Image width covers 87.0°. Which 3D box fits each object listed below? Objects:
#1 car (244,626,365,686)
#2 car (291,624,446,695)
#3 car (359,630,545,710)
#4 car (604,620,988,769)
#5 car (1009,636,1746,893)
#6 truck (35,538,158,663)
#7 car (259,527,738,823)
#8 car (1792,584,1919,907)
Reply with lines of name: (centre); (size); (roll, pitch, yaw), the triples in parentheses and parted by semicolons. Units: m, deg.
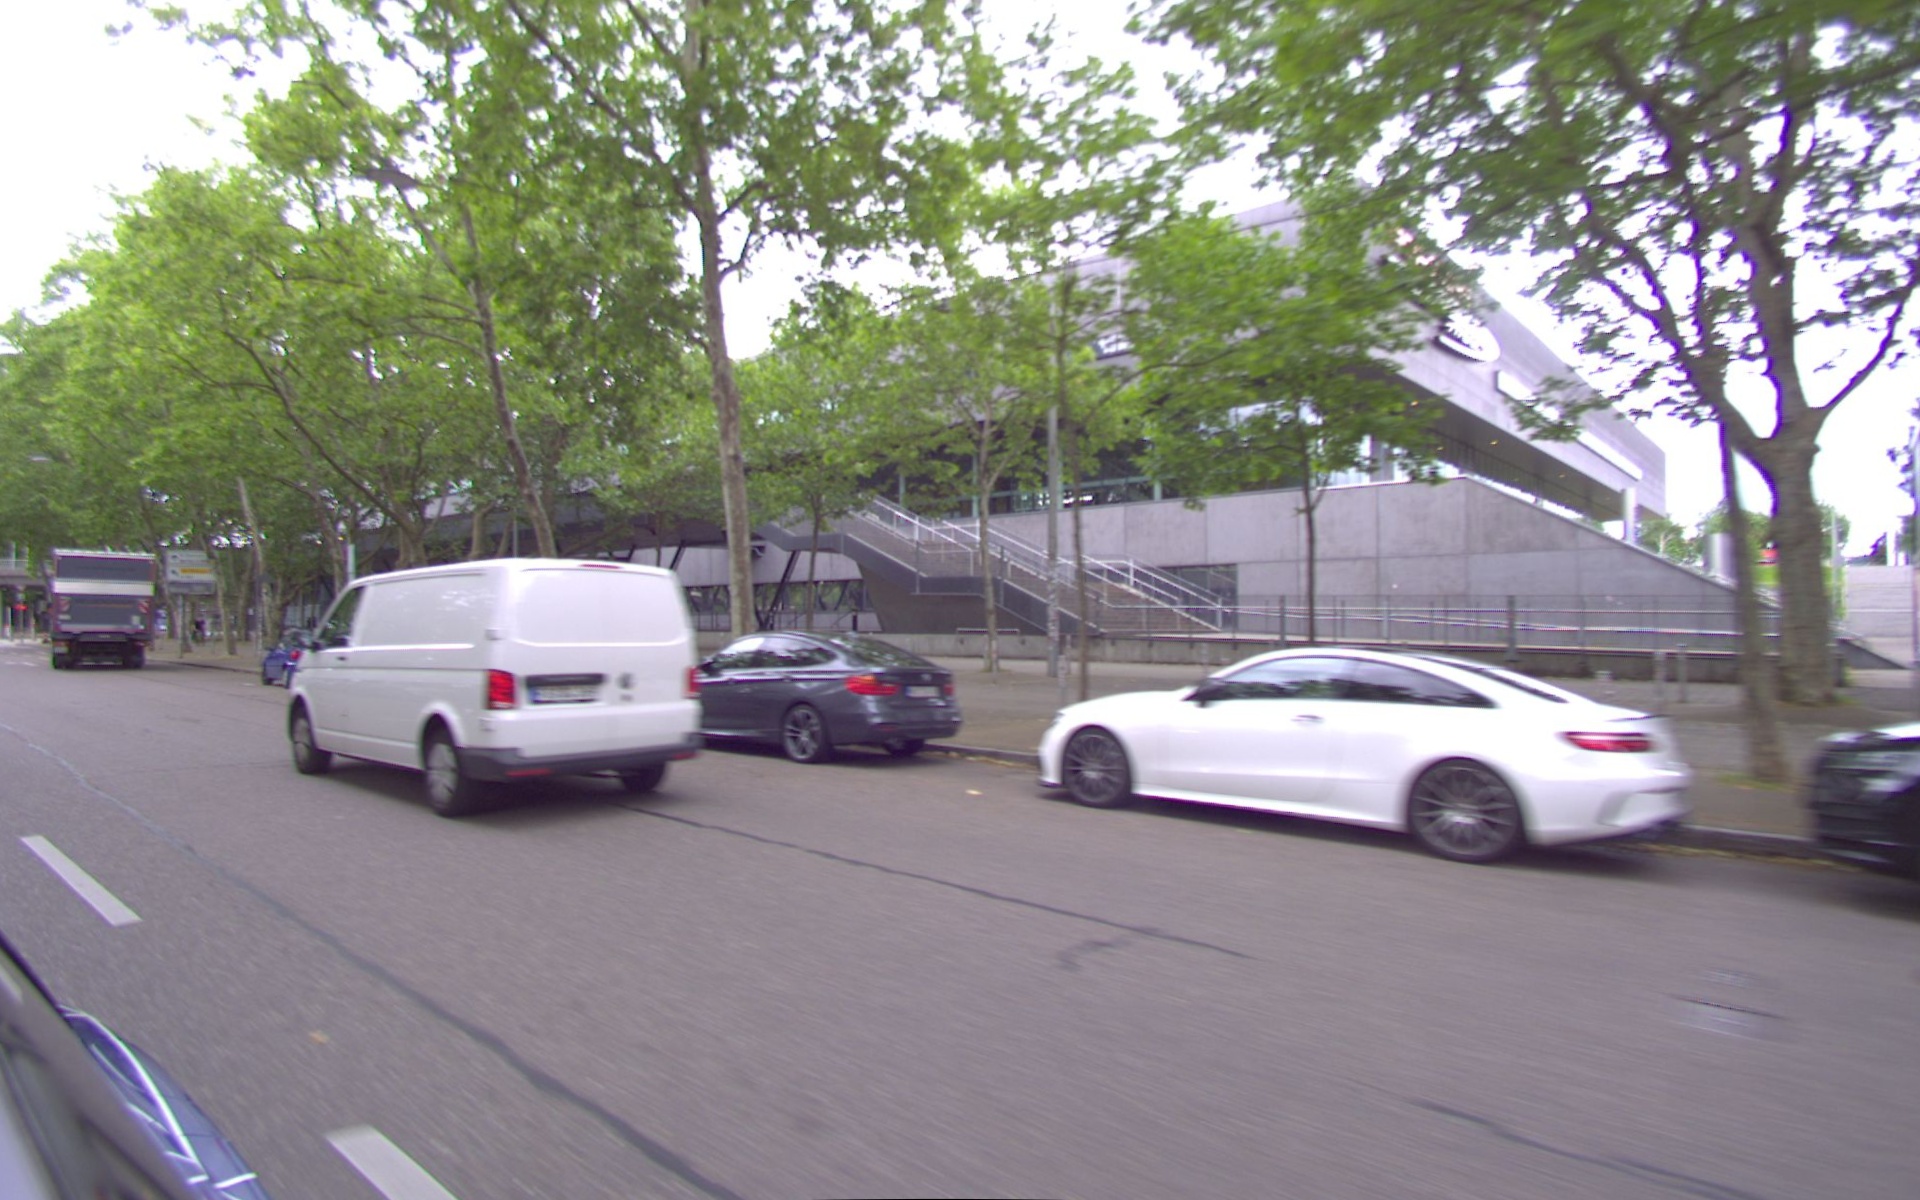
car: (-17.023, 1.431, 26.216); (4.001, 1.372, 1.675); (-2, -6, 44)
car: (-13.509, 1.335, 23.056); (3.644, 1.489, 1.679); (-1, -5, 36)
car: (-9.965, 1.326, 19.713); (4.329, 1.392, 1.689); (-1, -5, 41)
car: (-2.175, 1.013, 12.436); (4.988, 1.496, 1.801); (-1, -3, 39)
car: (2.903, 1.000, 7.889); (5.002, 1.372, 1.797); (-1, -3, 41)
truck: (-30.791, 0.107, 36.058); (2.874, 3.898, 9.480); (3, -2, -41)
car: (-4.528, 0.576, 9.386); (5.464, 1.976, 2.037); (-2, -2, 42)
car: (6.629, 0.756, 4.545); (4.345, 1.606, 1.797); (-1, -4, 44)
